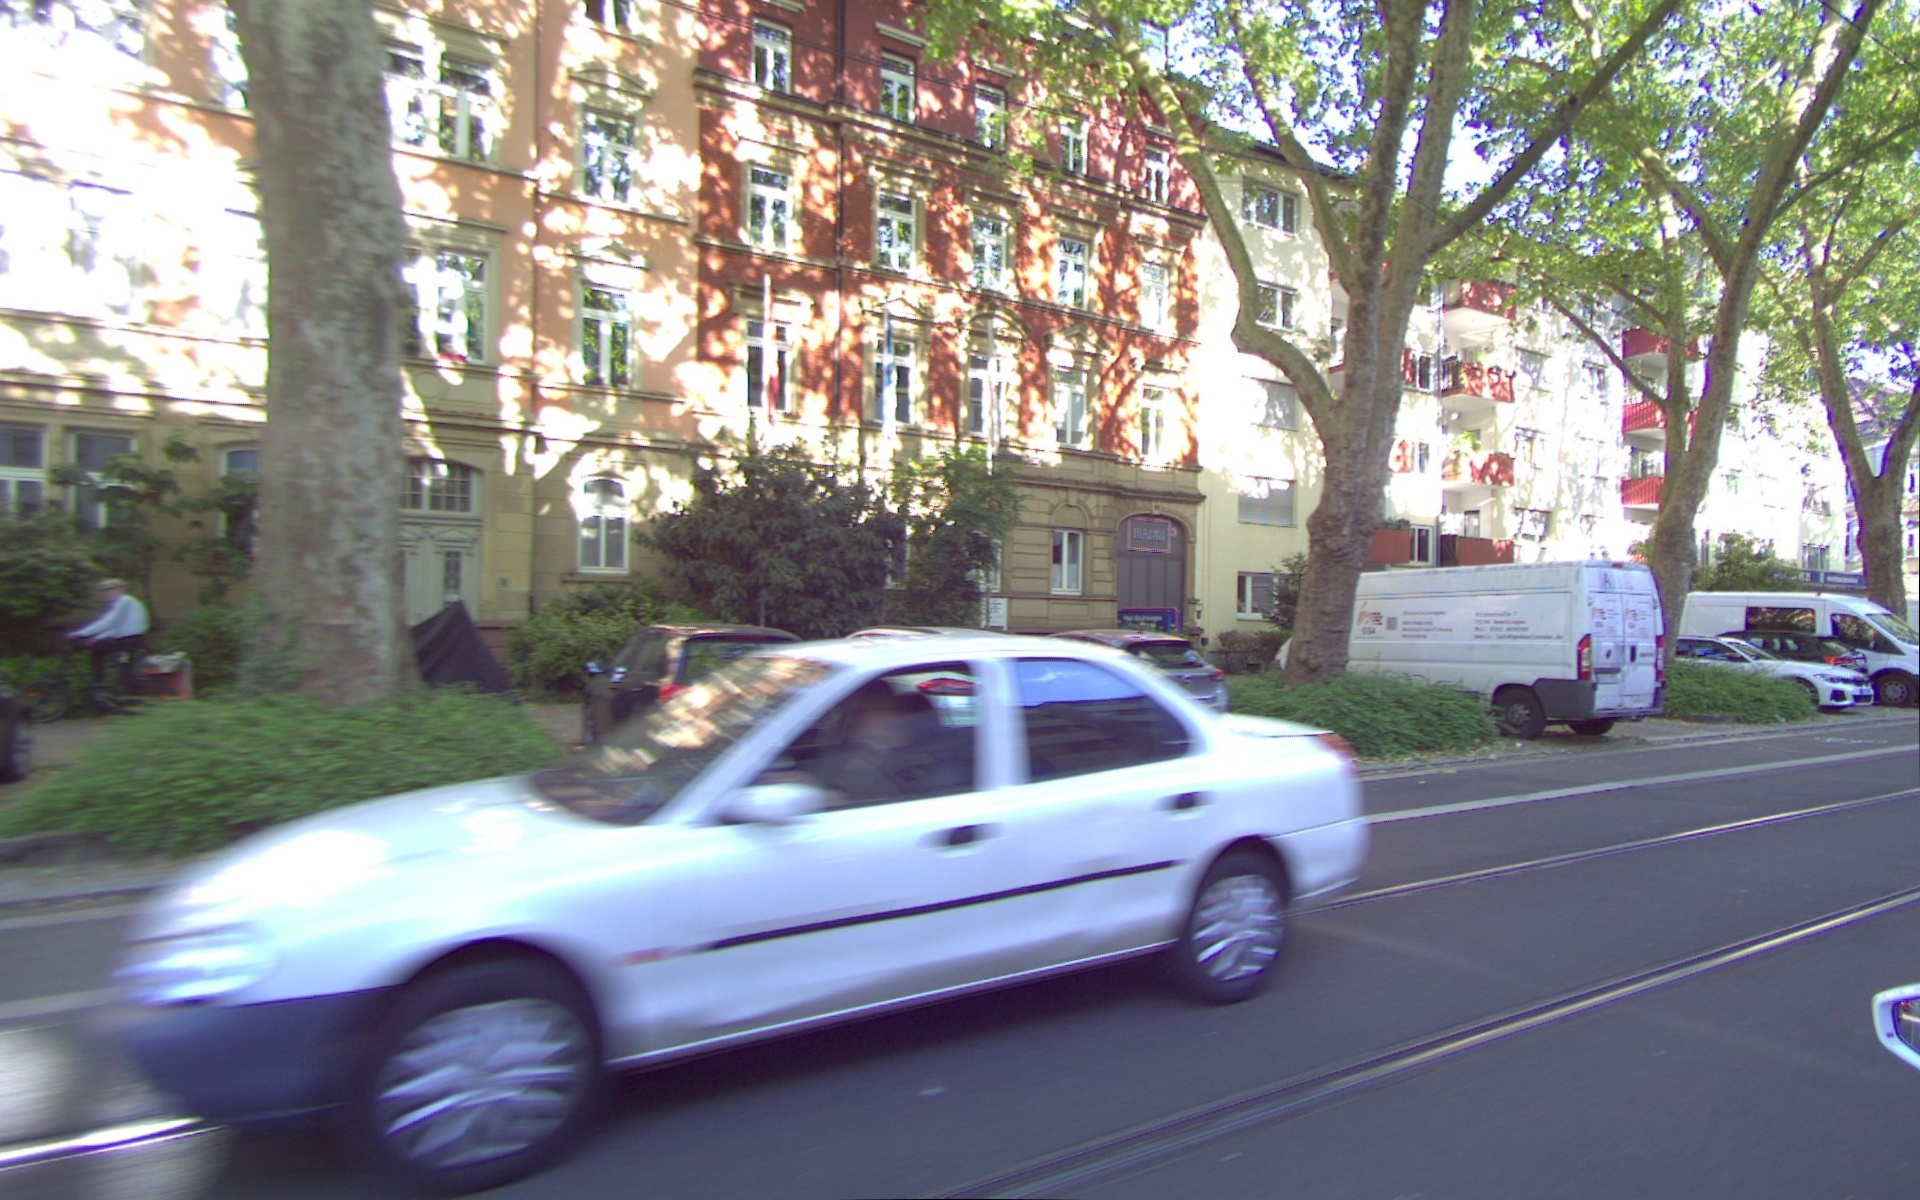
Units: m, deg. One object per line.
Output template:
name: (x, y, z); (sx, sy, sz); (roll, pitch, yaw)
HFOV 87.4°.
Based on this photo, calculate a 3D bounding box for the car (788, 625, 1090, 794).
car: (-0.430, 1.066, 11.395); (1.808, 1.516, 3.970); (1, -1, -29)

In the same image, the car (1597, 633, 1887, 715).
car: (16.099, 1.452, 20.943); (1.910, 1.403, 4.390); (1, -1, -29)

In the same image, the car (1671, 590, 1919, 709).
car: (20.099, 1.101, 23.518); (2.032, 2.510, 5.337); (1, -1, -29)

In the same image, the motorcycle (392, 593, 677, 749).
motorcycle: (-5.006, 0.799, 11.923); (2.976, 1.653, 1.047); (2, 0, -30)

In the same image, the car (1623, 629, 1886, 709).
car: (17.932, 1.480, 22.913); (1.850, 1.559, 4.351); (1, -1, -29)

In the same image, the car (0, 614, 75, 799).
car: (-8.352, 0.840, 7.479); (1.683, 1.479, 3.972); (1, -1, -27)

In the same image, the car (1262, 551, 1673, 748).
car: (7.758, 0.663, 16.154); (2.136, 2.570, 5.716); (1, 0, -29)

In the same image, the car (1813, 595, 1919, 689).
car: (27.453, 1.172, 28.265); (2.060, 2.601, 4.916); (1, -1, -32)

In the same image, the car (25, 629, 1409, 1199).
car: (-0.421, 0.830, 3.933); (4.416, 1.377, 1.710); (1, -1, -29)

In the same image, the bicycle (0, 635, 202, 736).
bicycle: (-10.560, 1.020, 12.435); (1.759, 1.154, 0.738); (1, -1, -30)

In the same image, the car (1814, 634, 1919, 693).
car: (25.411, 1.684, 26.504); (1.849, 1.485, 4.002); (1, -1, -28)

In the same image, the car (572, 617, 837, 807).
car: (-2.713, 0.934, 10.029); (1.683, 1.479, 3.777); (1, -1, -28)

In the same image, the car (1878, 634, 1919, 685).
car: (29.760, 1.781, 29.458); (1.839, 1.498, 3.836); (1, -1, -30)

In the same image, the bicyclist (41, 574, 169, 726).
bicyclist: (-10.529, 0.597, 12.419); (1.036, 1.786, 0.826); (1, -1, -30)

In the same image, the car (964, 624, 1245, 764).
car: (1.672, 1.069, 12.869); (1.682, 1.451, 3.794); (1, -1, -27)
